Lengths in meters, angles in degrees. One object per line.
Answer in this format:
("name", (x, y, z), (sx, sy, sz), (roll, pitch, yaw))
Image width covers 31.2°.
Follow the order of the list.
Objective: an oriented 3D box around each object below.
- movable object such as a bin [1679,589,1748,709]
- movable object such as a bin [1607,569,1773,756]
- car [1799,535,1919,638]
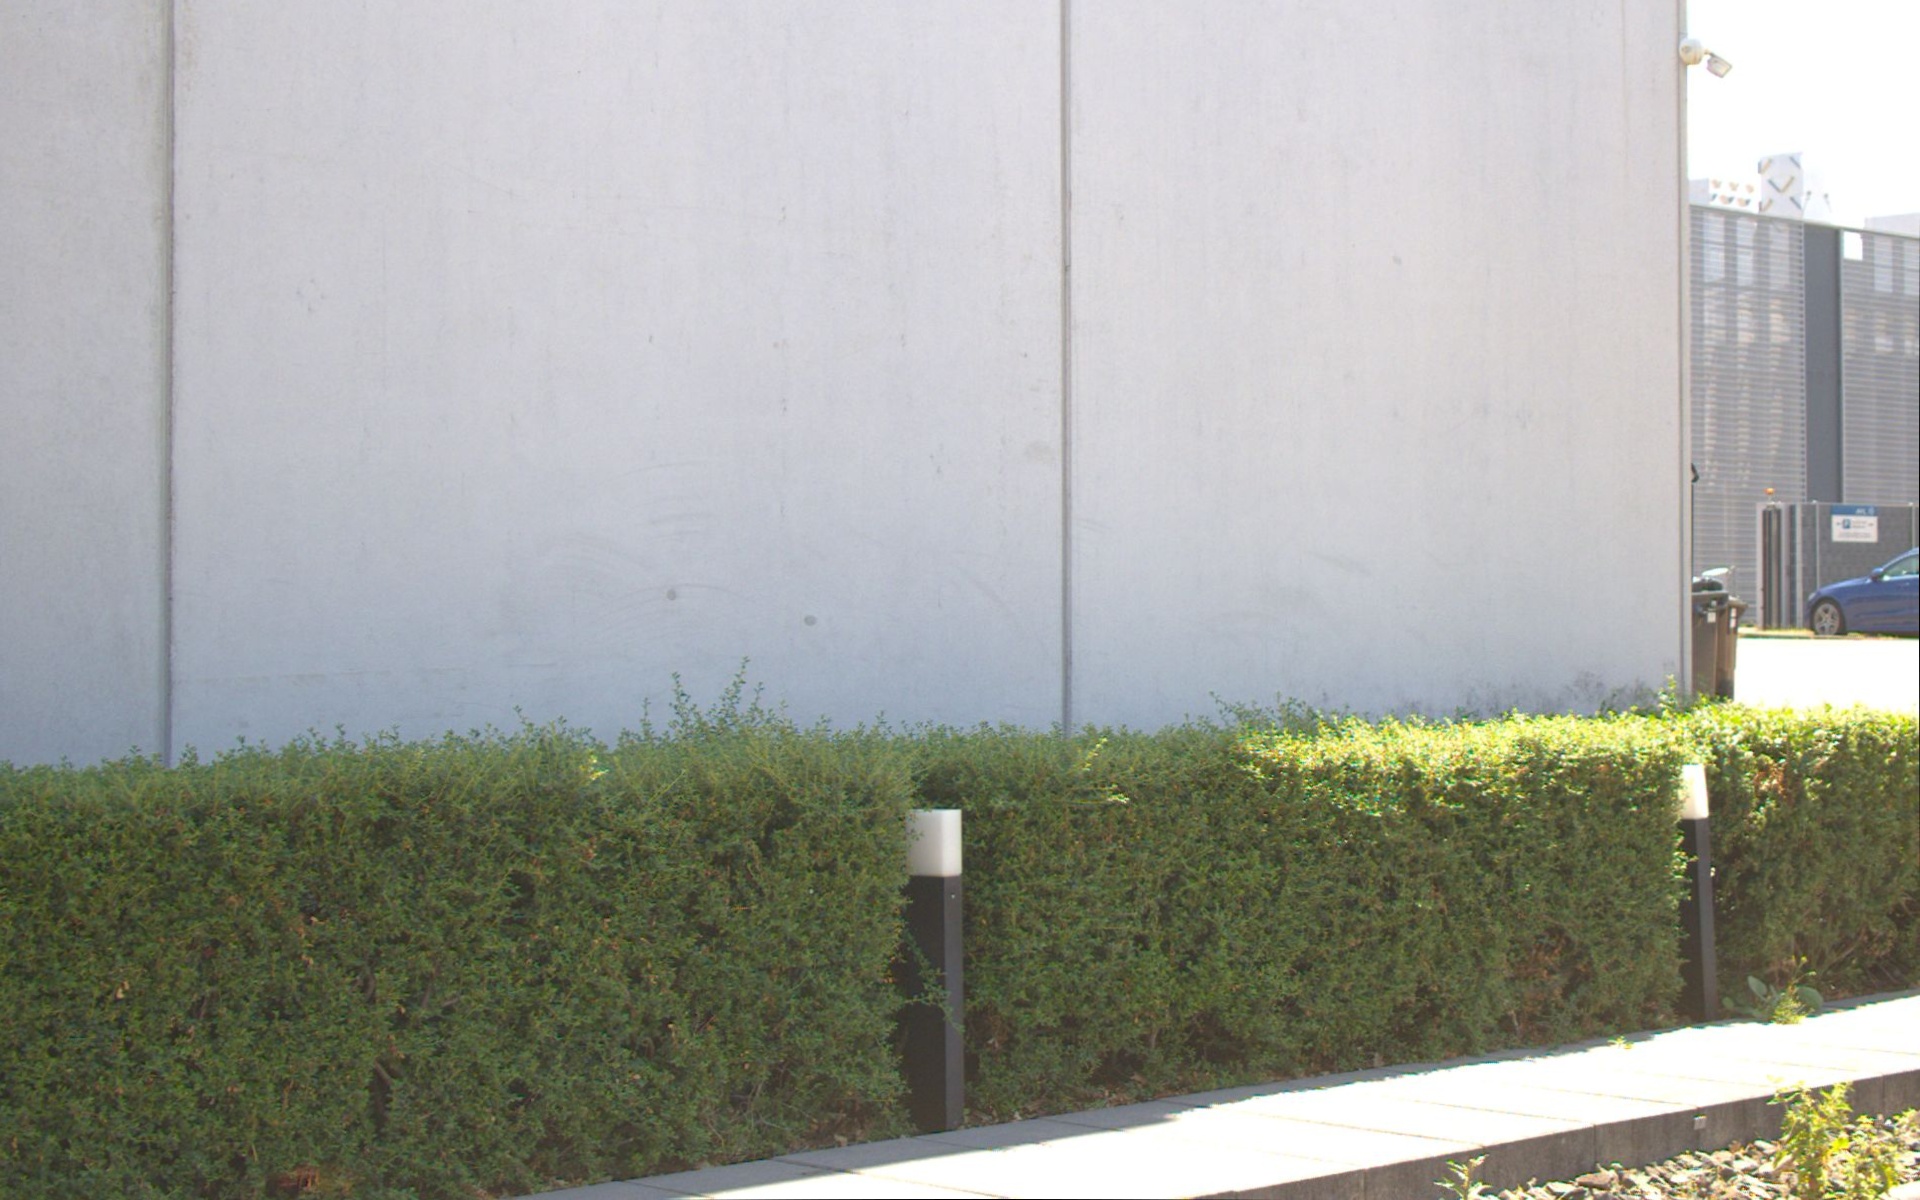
("movable object such as a bin", (6.573, 0.422, 29.976), (0.577, 1.033, 0.425), (0, 0, 13))
("movable object such as a bin", (5.359, 0.443, 25.247), (0.881, 1.340, 0.813), (0, 0, -38))
("car", (14.893, -0.206, 51.410), (1.993, 1.486, 4.515), (-1, 2, -30))
